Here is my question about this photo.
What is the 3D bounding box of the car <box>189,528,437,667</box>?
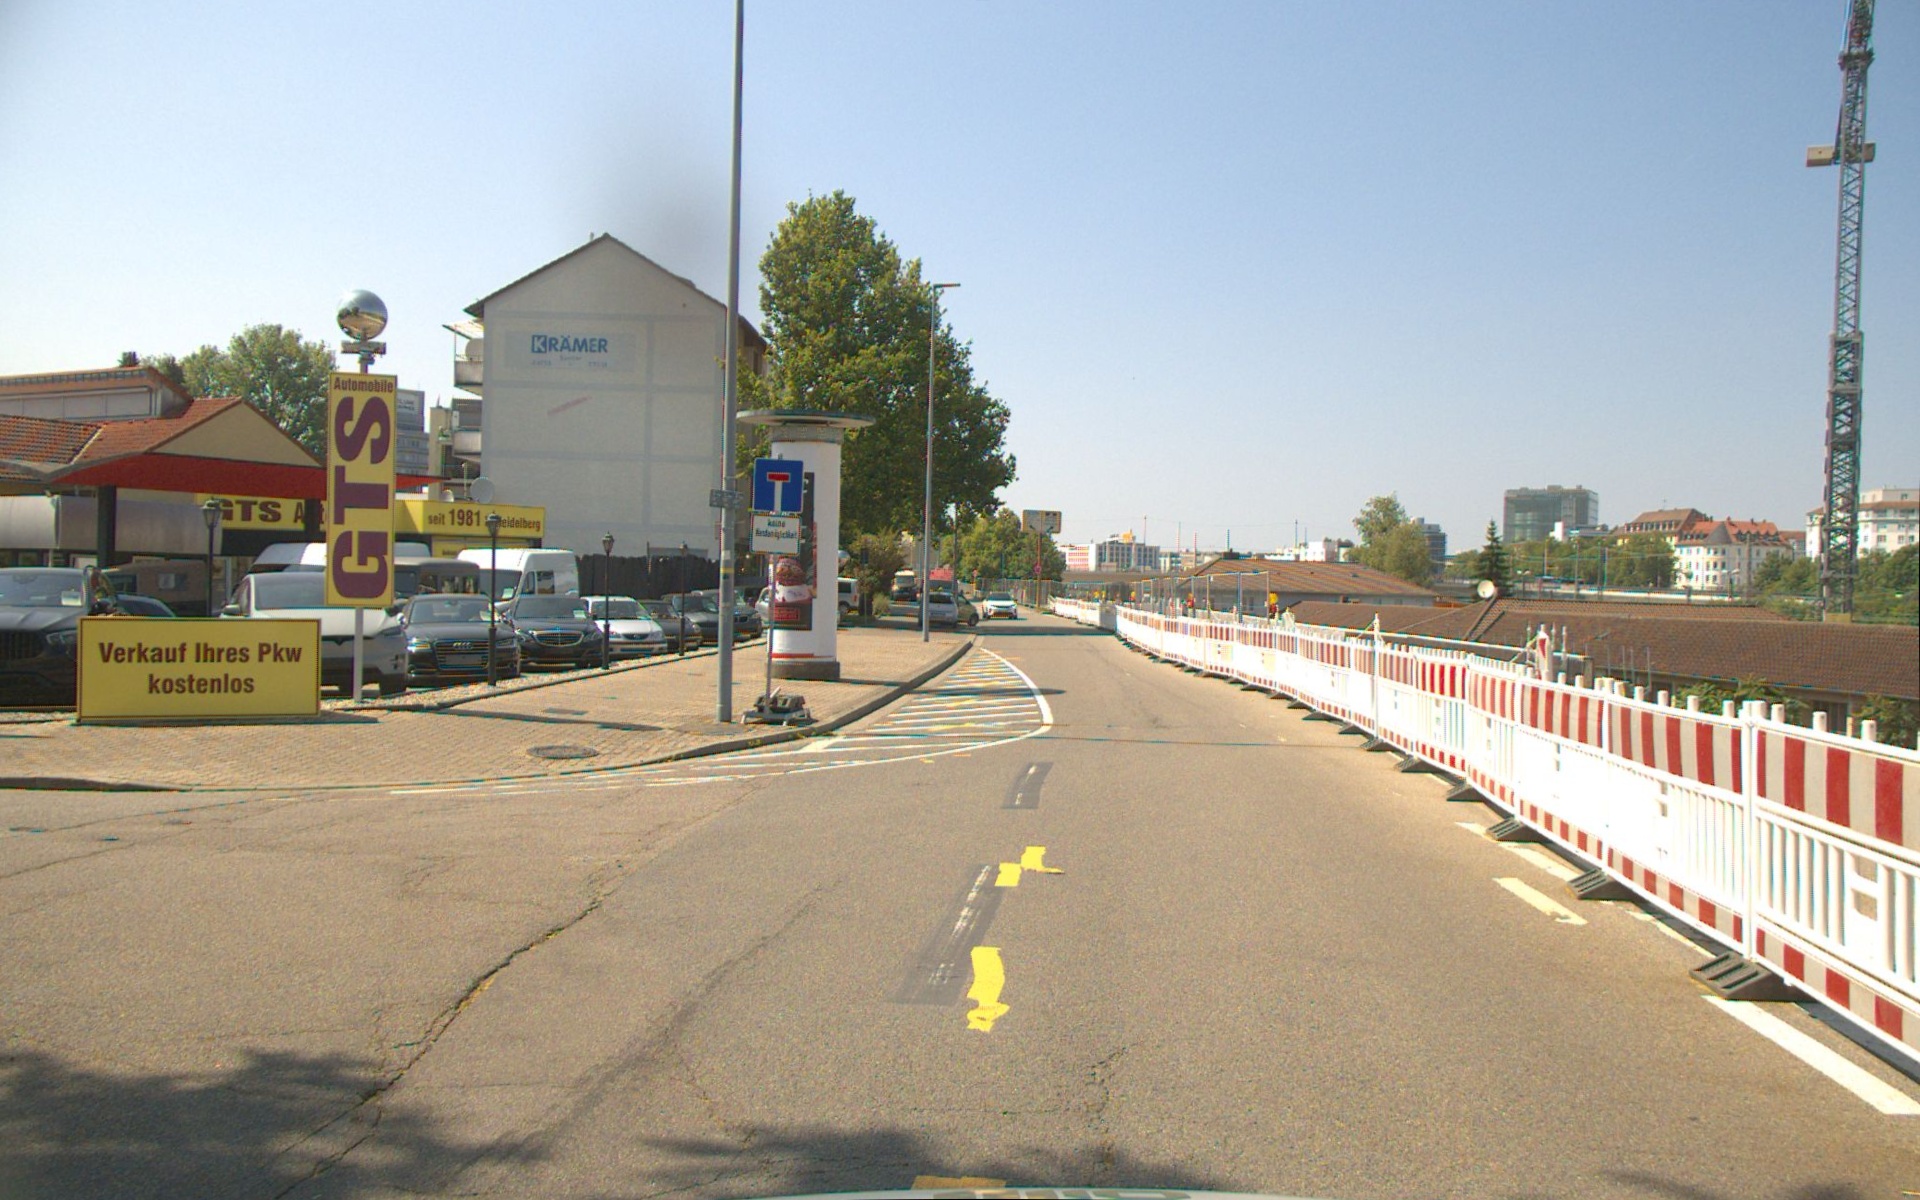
[{"bbox_3d":[-14.089,-0.020,36.554,2.228,2.806,6.157,0,-1,10],"label":"car"}]

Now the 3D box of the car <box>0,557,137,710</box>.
[{"bbox_3d":[-11.766,0.426,20.803,2.012,1.737,4.290,0,-1,-20],"label":"car"}]

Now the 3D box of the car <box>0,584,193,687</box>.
[{"bbox_3d":[-15.470,0.547,28.035,1.868,1.602,4.690,1,0,15],"label":"car"}]

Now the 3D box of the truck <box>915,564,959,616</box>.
[{"bbox_3d":[-1.191,-0.500,89.727,2.192,2.694,5.682,1,-1,1],"label":"truck"}]

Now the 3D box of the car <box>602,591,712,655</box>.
[{"bbox_3d":[-7.801,0.566,42.299,1.648,1.498,3.964,-2,1,-28],"label":"car"}]

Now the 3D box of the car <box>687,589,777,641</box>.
[{"bbox_3d":[-7.135,0.454,51.545,1.646,1.498,3.968,-2,1,-25],"label":"car"}]

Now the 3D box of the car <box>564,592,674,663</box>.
[{"bbox_3d":[-7.939,0.608,38.264,1.756,1.498,3.972,-2,0,-23],"label":"car"}]

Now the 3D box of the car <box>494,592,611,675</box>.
[{"bbox_3d":[-8.121,0.616,32.763,1.809,1.498,3.976,-2,0,-20],"label":"car"}]

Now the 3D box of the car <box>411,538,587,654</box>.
[{"bbox_3d":[-11.048,-0.052,40.162,2.199,2.472,5.721,4,-1,3],"label":"car"}]

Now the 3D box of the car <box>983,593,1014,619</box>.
[{"bbox_3d":[2.165,0.356,93.549,1.681,1.440,4.078,1,-1,1],"label":"car"}]

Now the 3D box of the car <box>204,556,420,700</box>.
[{"bbox_3d":[-8.894,0.422,22.455,1.956,1.737,4.613,-1,-2,-32],"label":"car"}]

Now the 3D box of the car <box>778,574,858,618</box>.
[{"bbox_3d":[-7.070,-0.208,82.408,3.846,1.993,1.757,2,0,-5],"label":"car"}]

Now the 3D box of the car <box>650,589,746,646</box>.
[{"bbox_3d":[-7.487,0.486,47.015,1.646,1.498,3.968,-2,0,-25],"label":"car"}]

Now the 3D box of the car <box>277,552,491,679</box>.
[{"bbox_3d":[-11.608,0.339,33.781,2.198,2.391,4.827,0,-1,7],"label":"car"}]

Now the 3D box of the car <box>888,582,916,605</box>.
[{"bbox_3d":[-5.155,-0.540,147.425,1.896,1.866,3.926,5,0,5],"label":"car"}]

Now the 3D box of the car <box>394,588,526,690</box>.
[{"bbox_3d":[-8.314,0.593,27.275,1.810,1.498,3.975,-2,0,-21],"label":"car"}]

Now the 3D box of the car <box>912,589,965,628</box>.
[{"bbox_3d":[-0.897,0.339,70.243,1.829,1.524,4.034,0,1,5],"label":"car"}]
